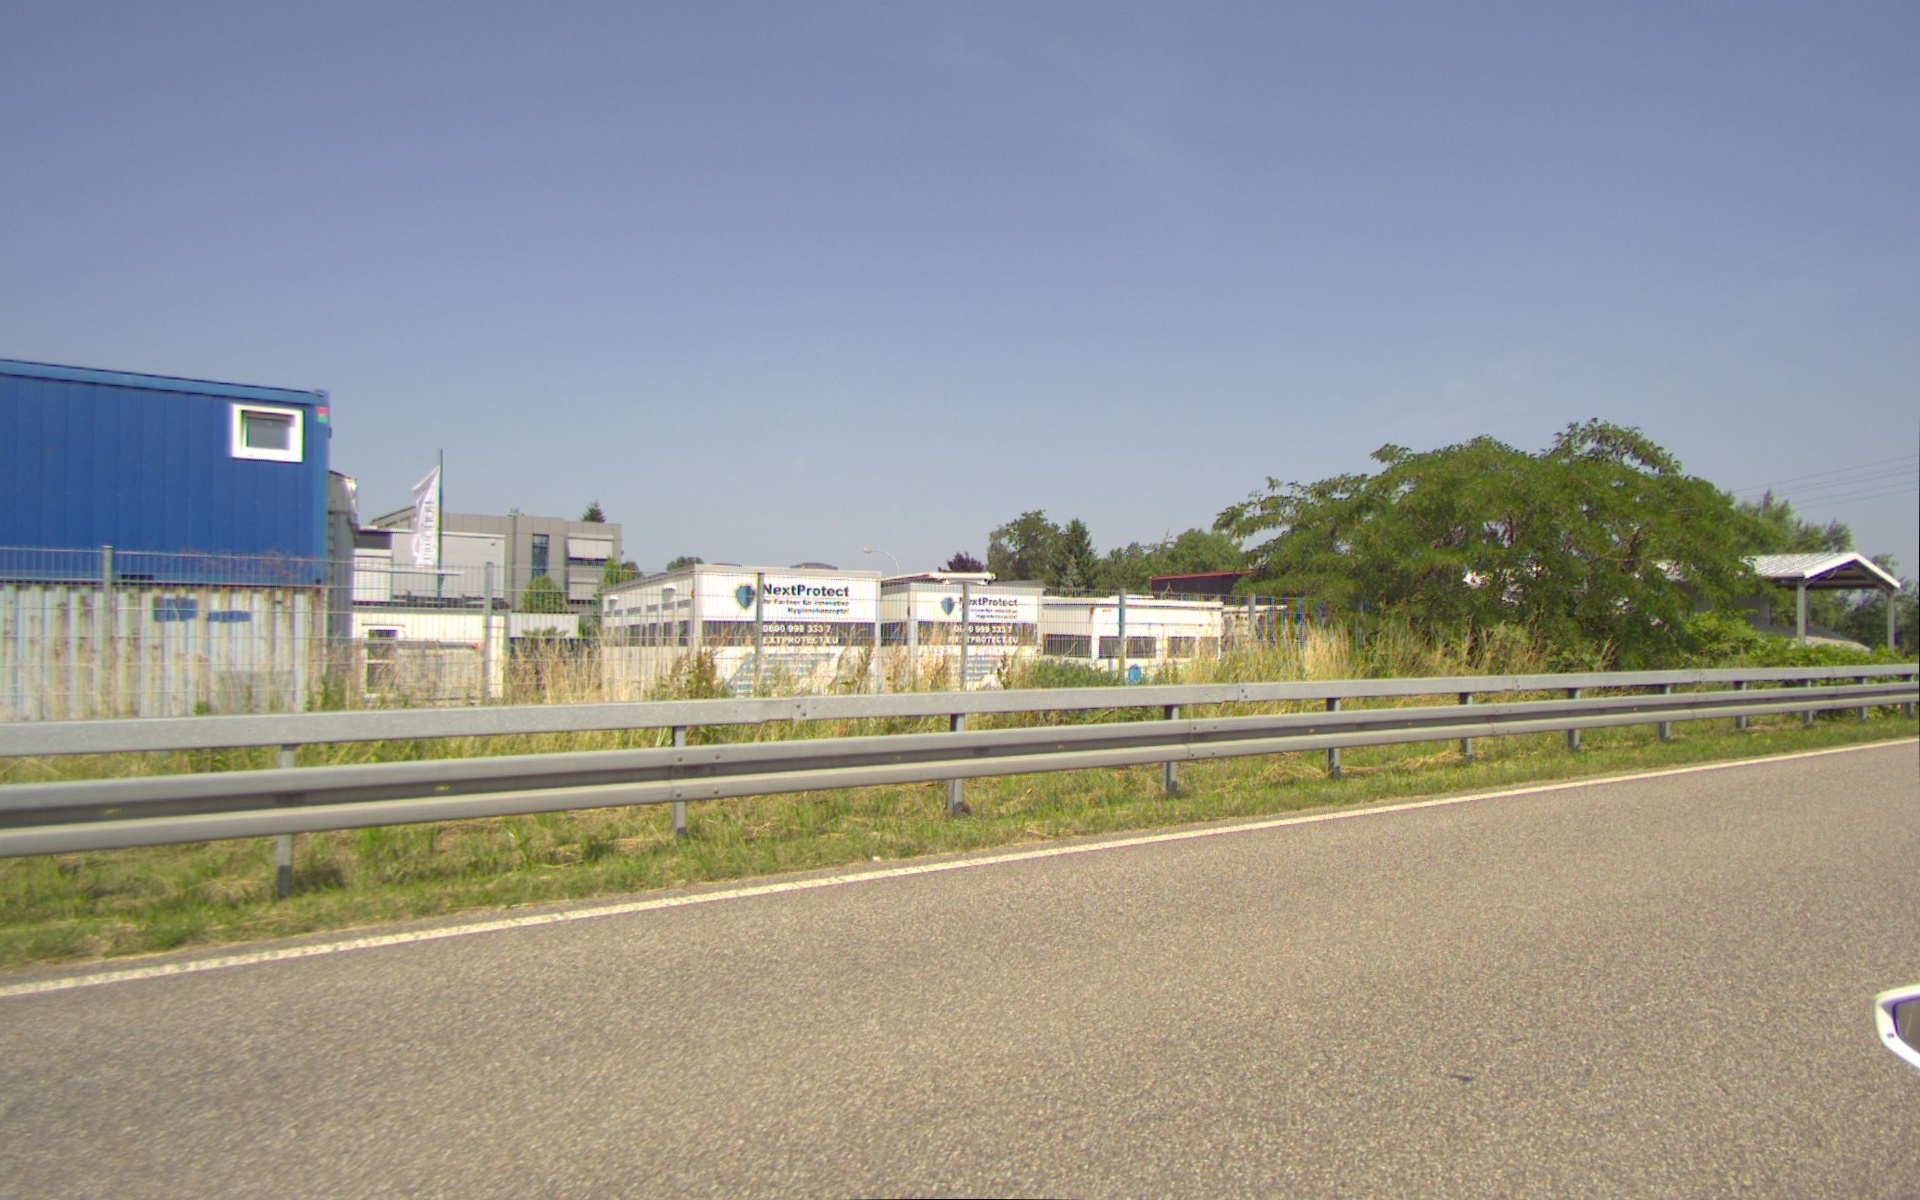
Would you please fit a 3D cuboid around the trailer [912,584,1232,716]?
[{"bbox_3d":[1.515,0.673,16.227,2.454,1.743,5.503,1,0,-28],"label":"trailer"}]

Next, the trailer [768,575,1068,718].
[{"bbox_3d":[-0.914,0.592,15.422,2.454,1.767,5.503,1,0,-28],"label":"trailer"}]

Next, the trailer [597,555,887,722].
[{"bbox_3d":[-3.337,0.446,14.249,2.514,1.873,5.360,1,0,-30],"label":"trailer"}]
